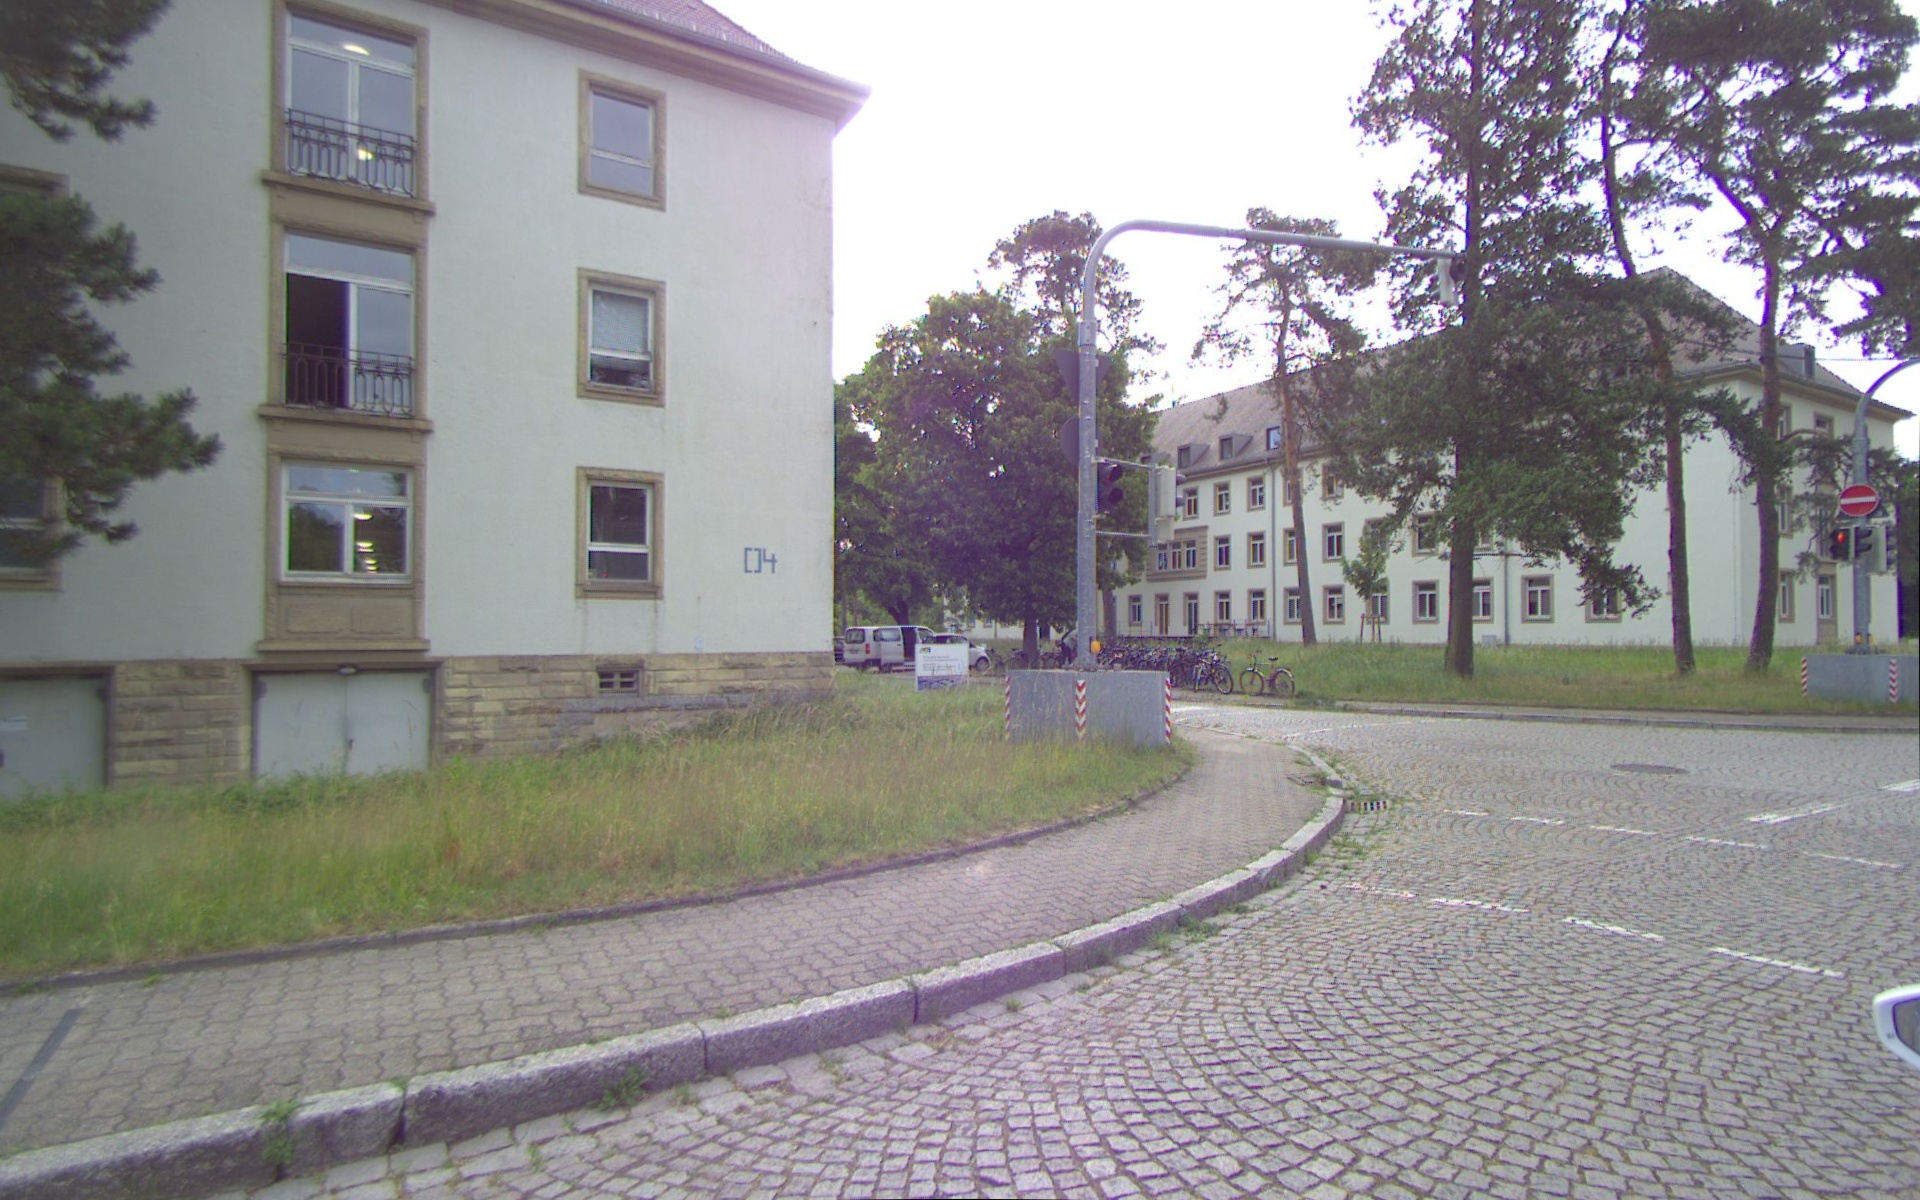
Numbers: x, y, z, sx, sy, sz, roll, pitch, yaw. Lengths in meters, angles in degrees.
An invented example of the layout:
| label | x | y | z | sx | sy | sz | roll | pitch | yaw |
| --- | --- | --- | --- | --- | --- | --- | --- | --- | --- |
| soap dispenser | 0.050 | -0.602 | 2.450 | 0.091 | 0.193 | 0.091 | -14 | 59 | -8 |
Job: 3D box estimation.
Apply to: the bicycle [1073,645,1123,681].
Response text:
| label | x | y | z | sx | sy | sz | roll | pitch | yaw |
| --- | --- | --- | --- | --- | --- | --- | --- | --- | --- |
| bicycle | 4.301 | 1.949 | 31.195 | 1.567 | 1.093 | 0.512 | 1 | -2 | -31 |

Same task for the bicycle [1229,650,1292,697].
| label | x | y | z | sx | sy | sz | roll | pitch | yaw |
| --- | --- | --- | --- | --- | --- | --- | --- | --- | --- |
| bicycle | 7.158 | 1.728 | 23.962 | 0.510 | 1.079 | 1.457 | 1 | -3 | -32 |

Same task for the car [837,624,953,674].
| label | x | y | z | sx | sy | sz | roll | pitch | yaw |
| --- | --- | --- | --- | --- | --- | --- | --- | --- | --- |
| car | -2.677 | 2.015 | 42.517 | 4.878 | 1.978 | 1.839 | 2 | -2 | -44 |

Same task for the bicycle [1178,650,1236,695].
| label | x | y | z | sx | sy | sz | roll | pitch | yaw |
| --- | --- | --- | --- | --- | --- | --- | --- | --- | --- |
| bicycle | 6.203 | 1.801 | 25.291 | 0.510 | 1.093 | 1.457 | 1 | -3 | -32 |

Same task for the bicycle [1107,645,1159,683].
| label | x | y | z | sx | sy | sz | roll | pitch | yaw |
| --- | --- | --- | --- | --- | --- | --- | --- | --- | --- |
| bicycle | 5.126 | 1.898 | 29.790 | 1.567 | 1.093 | 0.512 | 1 | -2 | -31 |

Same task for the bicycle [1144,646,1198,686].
| label | x | y | z | sx | sy | sz | roll | pitch | yaw |
| --- | --- | --- | --- | --- | --- | --- | --- | --- | --- |
| bicycle | 5.983 | 1.864 | 28.426 | 1.567 | 1.093 | 0.512 | 1 | -2 | -31 |

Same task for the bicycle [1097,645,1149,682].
| label | x | y | z | sx | sy | sz | roll | pitch | yaw |
| --- | --- | --- | --- | --- | --- | --- | --- | --- | --- |
| bicycle | 4.895 | 1.901 | 30.177 | 1.567 | 1.093 | 0.512 | 1 | -2 | -31 |

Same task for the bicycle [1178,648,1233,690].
| label | x | y | z | sx | sy | sz | roll | pitch | yaw |
| --- | --- | --- | --- | --- | --- | --- | --- | --- | --- |
| bicycle | 6.666 | 1.863 | 27.228 | 1.569 | 1.093 | 0.511 | 1 | -2 | -34 |

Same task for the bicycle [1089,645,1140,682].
| label | x | y | z | sx | sy | sz | roll | pitch | yaw |
| --- | --- | --- | --- | --- | --- | --- | --- | --- | --- |
| bicycle | 4.697 | 1.931 | 30.506 | 1.567 | 1.093 | 0.512 | 1 | -2 | -31 |

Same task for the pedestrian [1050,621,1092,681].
| label | x | y | z | sx | sy | sz | roll | pitch | yaw |
| --- | --- | --- | --- | --- | --- | --- | --- | --- | --- |
| pedestrian | 3.450 | 1.581 | 31.385 | 1.135 | 1.812 | 1.064 | -1 | -1 | -2 |

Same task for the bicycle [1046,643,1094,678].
| label | x | y | z | sx | sy | sz | roll | pitch | yaw |
| --- | --- | --- | --- | --- | --- | --- | --- | --- | --- |
| bicycle | 3.568 | 1.957 | 32.536 | 1.567 | 1.093 | 0.512 | 1 | -2 | -31 |

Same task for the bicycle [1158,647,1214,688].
| label | x | y | z | sx | sy | sz | roll | pitch | yaw |
| --- | --- | --- | --- | --- | --- | --- | --- | --- | --- |
| bicycle | 6.255 | 1.862 | 27.769 | 1.565 | 1.093 | 0.512 | 1 | -2 | -28 |

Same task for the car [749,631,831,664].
| label | x | y | z | sx | sy | sz | roll | pitch | yaw |
| --- | --- | --- | --- | --- | --- | --- | --- | --- | --- |
| car | -9.269 | 2.549 | 54.732 | 4.052 | 1.716 | 1.789 | 1 | -1 | -34 |

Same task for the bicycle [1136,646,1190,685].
| label | x | y | z | sx | sy | sz | roll | pitch | yaw |
| --- | --- | --- | --- | --- | --- | --- | --- | --- | --- |
| bicycle | 5.807 | 1.865 | 28.741 | 1.567 | 1.093 | 0.512 | 1 | -2 | -31 |

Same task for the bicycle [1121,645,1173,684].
| label | x | y | z | sx | sy | sz | roll | pitch | yaw |
| --- | --- | --- | --- | --- | --- | --- | --- | --- | --- |
| bicycle | 5.453 | 1.875 | 29.262 | 1.567 | 1.093 | 0.512 | 1 | -2 | -31 |

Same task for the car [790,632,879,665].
| label | x | y | z | sx | sy | sz | roll | pitch | yaw |
| --- | --- | --- | --- | --- | --- | --- | --- | --- | --- |
| car | -6.248 | 2.412 | 50.134 | 4.051 | 1.547 | 1.789 | 1 | -1 | -34 |

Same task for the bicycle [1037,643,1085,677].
| label | x | y | z | sx | sy | sz | roll | pitch | yaw |
| --- | --- | --- | --- | --- | --- | --- | --- | --- | --- |
| bicycle | 3.310 | 1.957 | 32.964 | 1.567 | 1.093 | 0.512 | 1 | -2 | -31 |

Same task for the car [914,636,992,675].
| label | x | y | z | sx | sy | sz | roll | pitch | yaw |
| --- | --- | --- | --- | --- | --- | --- | --- | --- | --- |
| car | -0.272 | 2.182 | 39.968 | 2.756 | 1.446 | 1.509 | 1 | -1 | -31 |
